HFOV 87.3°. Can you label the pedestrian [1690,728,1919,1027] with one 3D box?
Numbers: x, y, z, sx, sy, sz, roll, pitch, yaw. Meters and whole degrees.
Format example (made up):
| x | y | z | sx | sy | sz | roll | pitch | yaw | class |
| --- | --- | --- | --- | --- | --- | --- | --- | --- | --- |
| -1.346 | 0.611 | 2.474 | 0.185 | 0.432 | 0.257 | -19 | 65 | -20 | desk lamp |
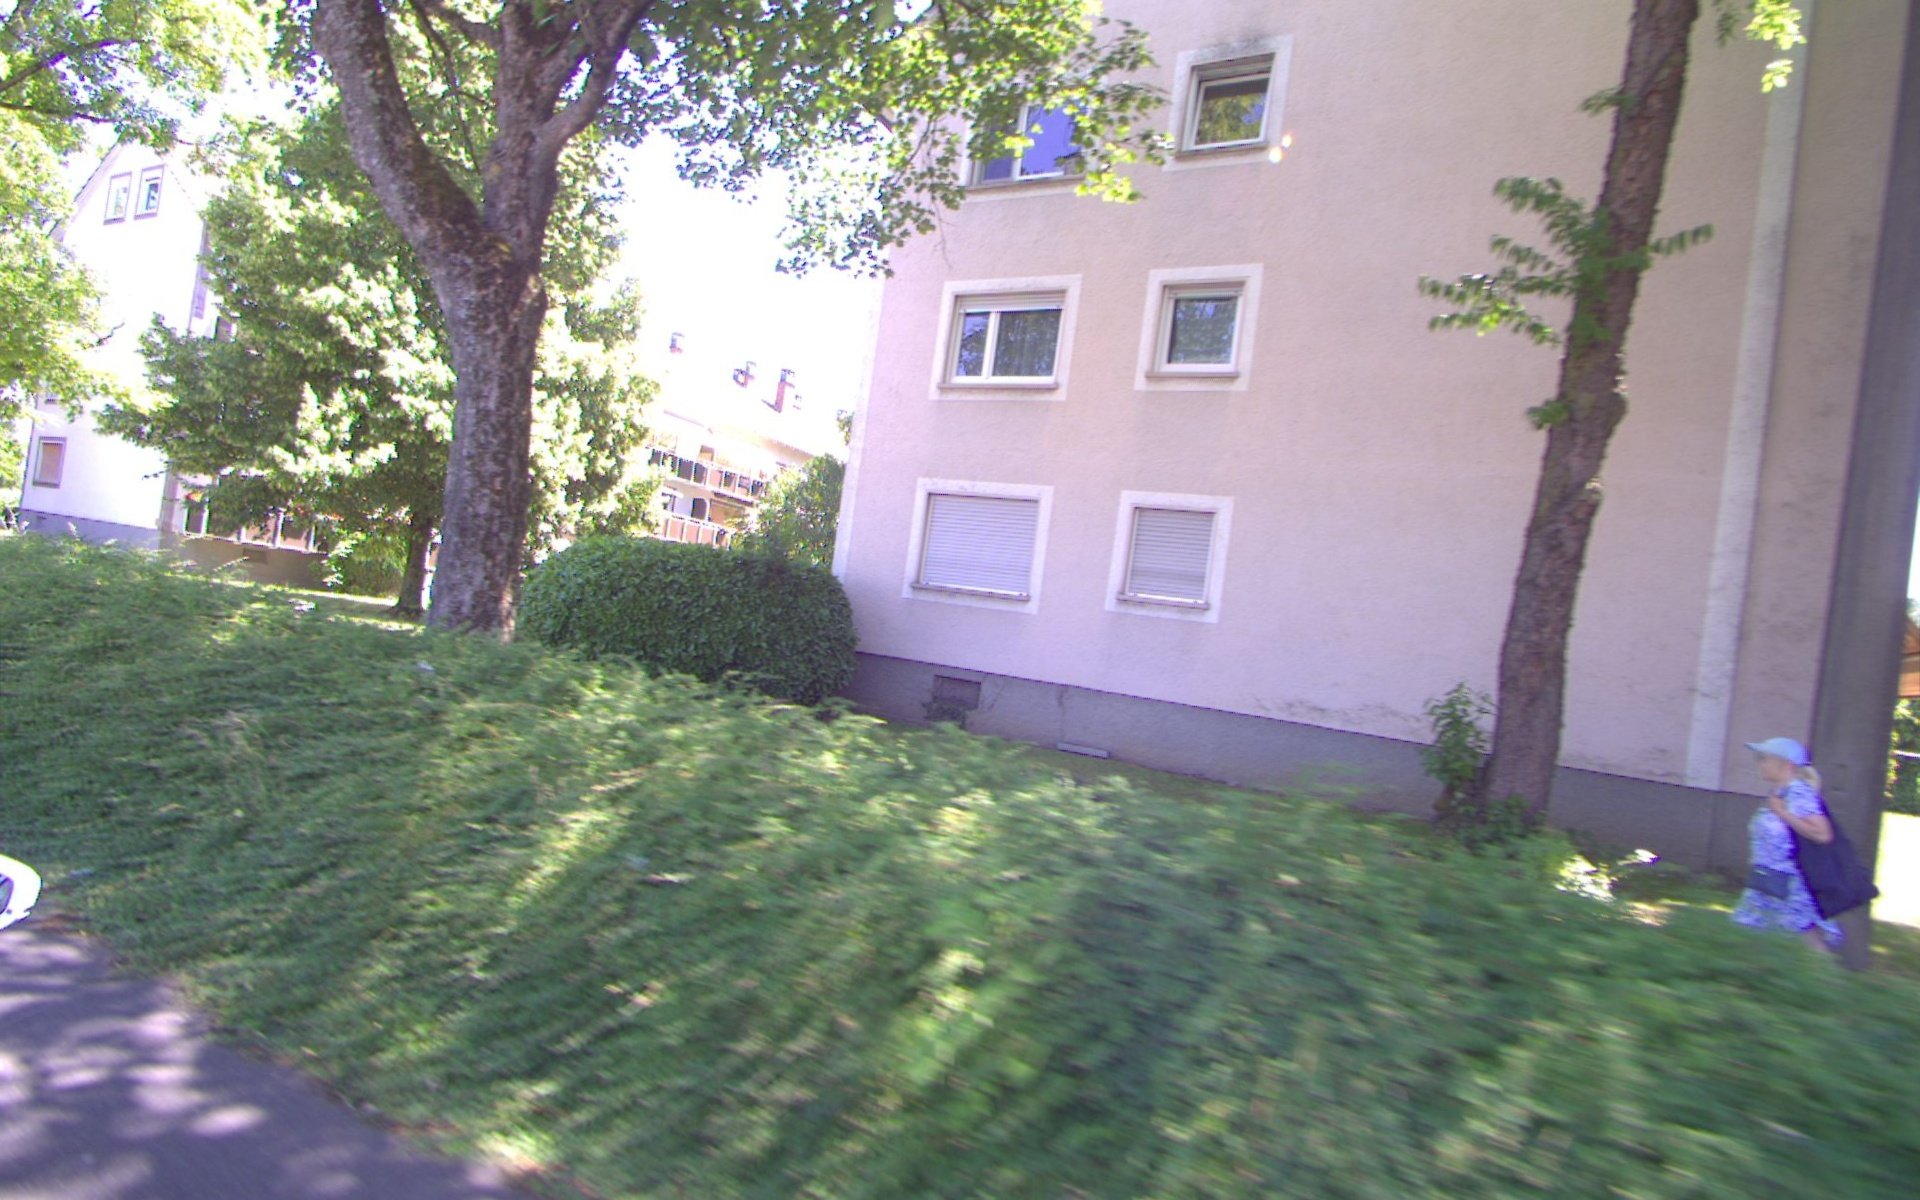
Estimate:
| x | y | z | sx | sy | sz | roll | pitch | yaw | class |
| --- | --- | --- | --- | --- | --- | --- | --- | --- | --- |
| 4.649 | 1.442 | 5.508 | 0.874 | 1.350 | 0.663 | 7 | -1 | 32 | pedestrian |
